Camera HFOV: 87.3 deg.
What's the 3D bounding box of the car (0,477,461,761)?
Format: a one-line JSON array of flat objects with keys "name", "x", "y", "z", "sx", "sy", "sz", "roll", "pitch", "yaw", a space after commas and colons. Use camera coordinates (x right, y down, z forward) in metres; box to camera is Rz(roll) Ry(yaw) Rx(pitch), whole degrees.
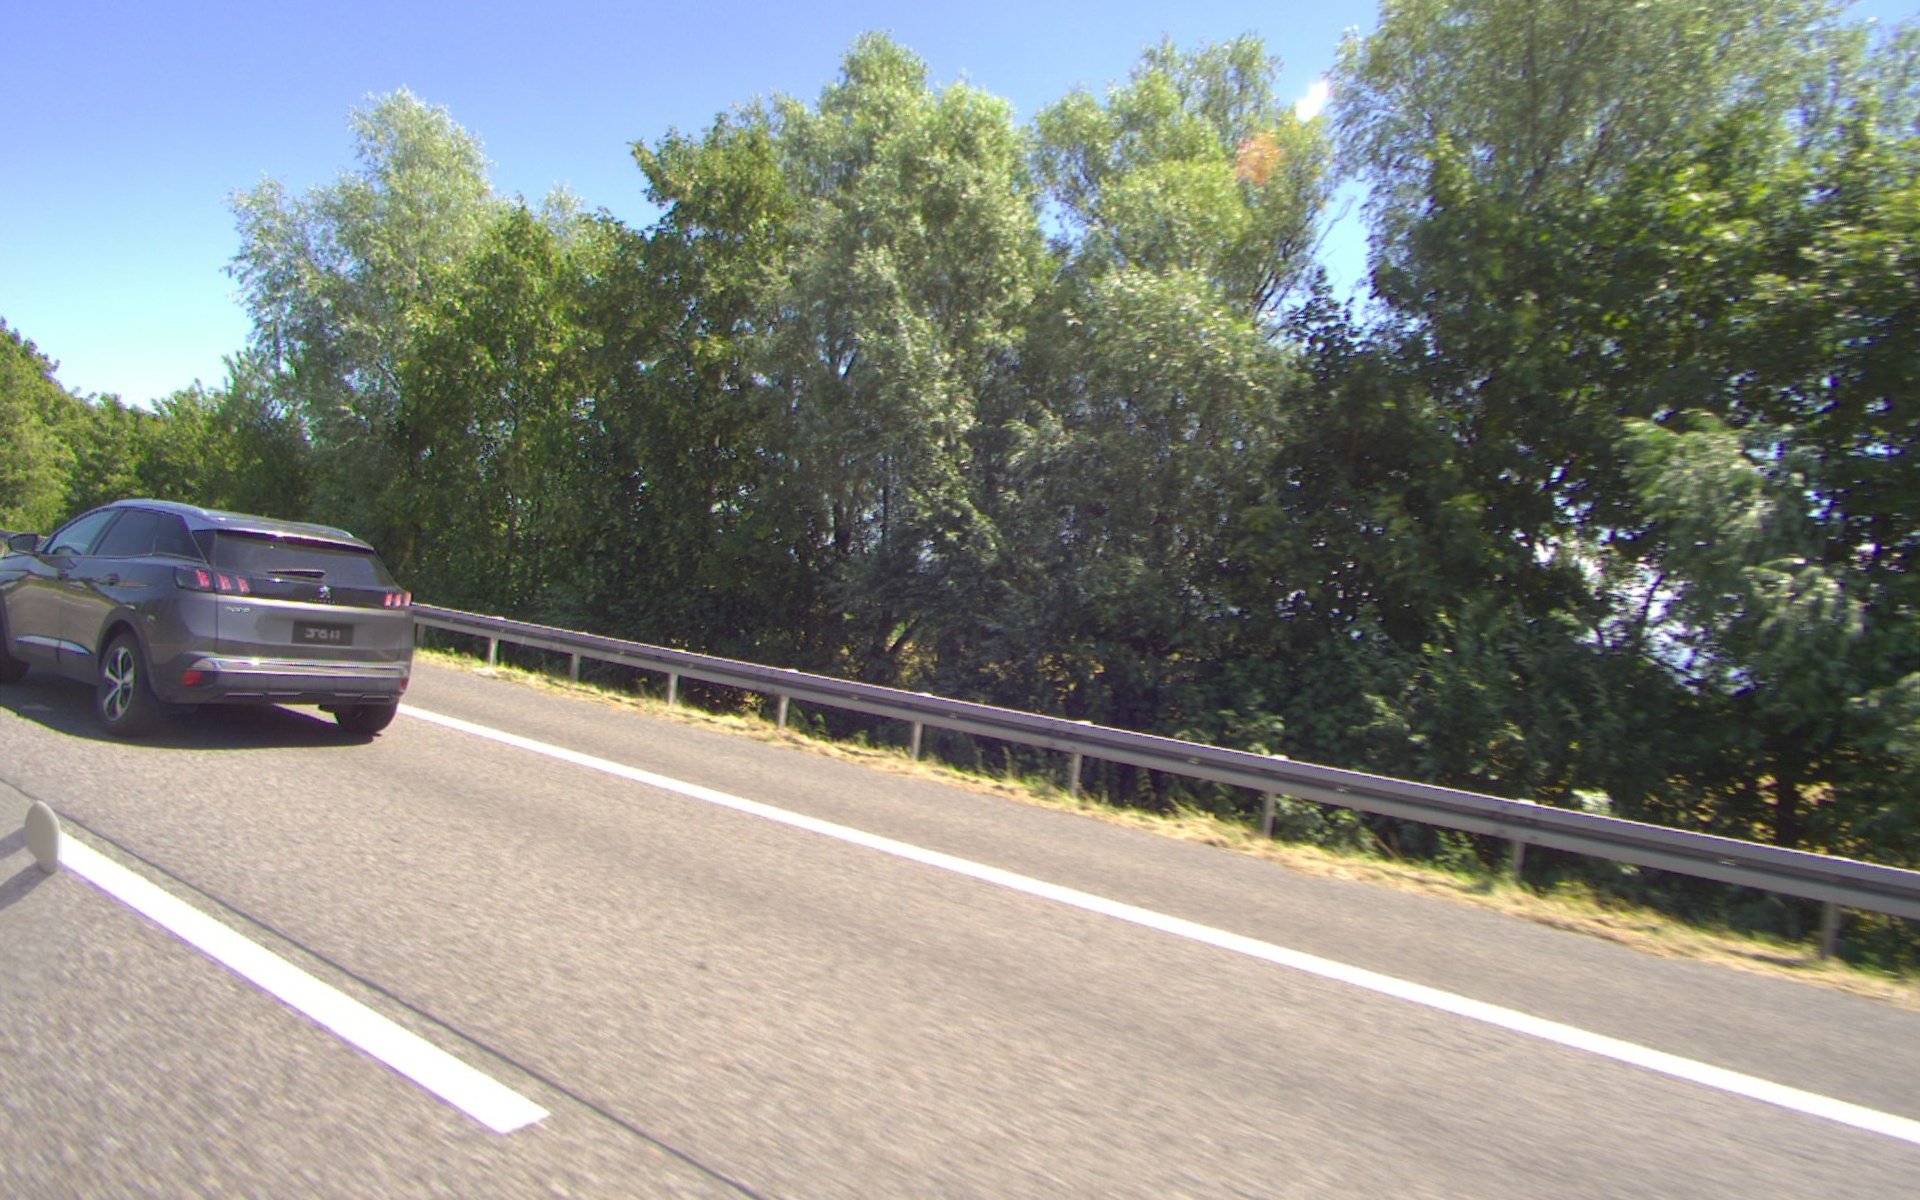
[{"name": "car", "x": -6.187, "y": 0.053, "z": 8.164, "sx": 4.066, "sy": 1.648, "sz": 1.848, "roll": 7, "pitch": -1, "yaw": 32}]
